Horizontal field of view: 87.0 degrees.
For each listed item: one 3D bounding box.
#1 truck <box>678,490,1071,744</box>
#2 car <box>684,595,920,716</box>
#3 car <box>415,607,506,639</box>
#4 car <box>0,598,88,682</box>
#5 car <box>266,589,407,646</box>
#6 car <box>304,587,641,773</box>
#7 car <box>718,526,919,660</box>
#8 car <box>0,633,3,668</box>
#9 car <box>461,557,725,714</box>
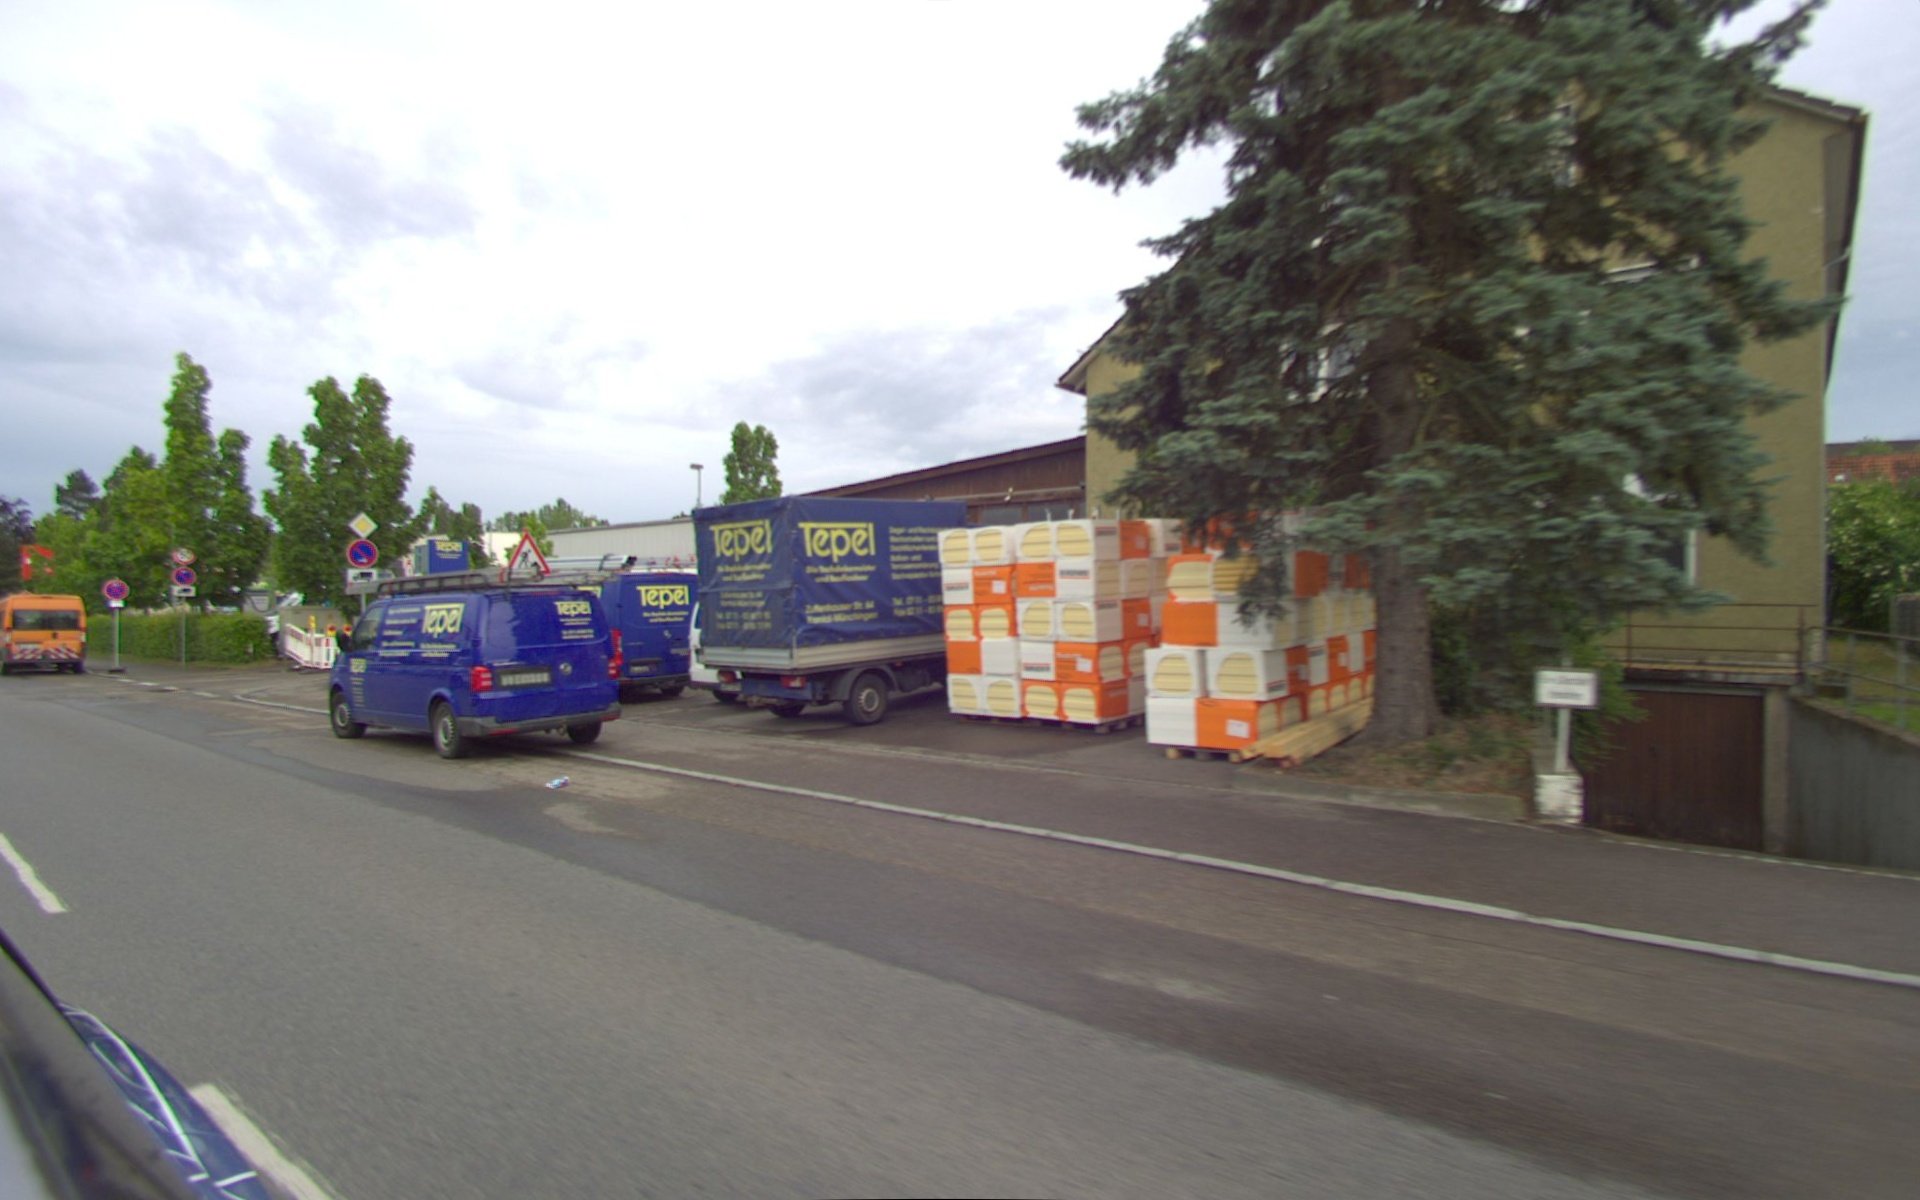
[{"bbox_3d":[-1.035,0.161,15.369,2.449,3.096,5.850,-1,0,41],"label":"truck"},{"bbox_3d":[-2.615,0.846,17.315,1.778,1.763,3.669,-1,1,42],"label":"car"},{"bbox_3d":[-27.003,1.227,54.825,1.882,1.563,4.018,-1,0,36],"label":"car"},{"bbox_3d":[-31.009,1.298,33.753,6.019,2.557,2.102,-2,-1,41],"label":"car"},{"bbox_3d":[-24.186,0.638,39.370,2.062,2.029,4.261,-1,0,41],"label":"car"},{"bbox_3d":[-6.575,0.889,13.306,5.361,1.962,1.973,-1,0,41],"label":"car"},{"bbox_3d":[-3.650,-0.140,25.417,5.241,3.036,2.054,-1,0,42],"label":"car"},{"bbox_3d":[-45.773,2.334,46.791,4.339,1.585,1.787,-2,-2,41],"label":"car"},{"bbox_3d":[-7.235,0.602,19.489,6.199,2.586,2.054,-1,0,42],"label":"car"}]
